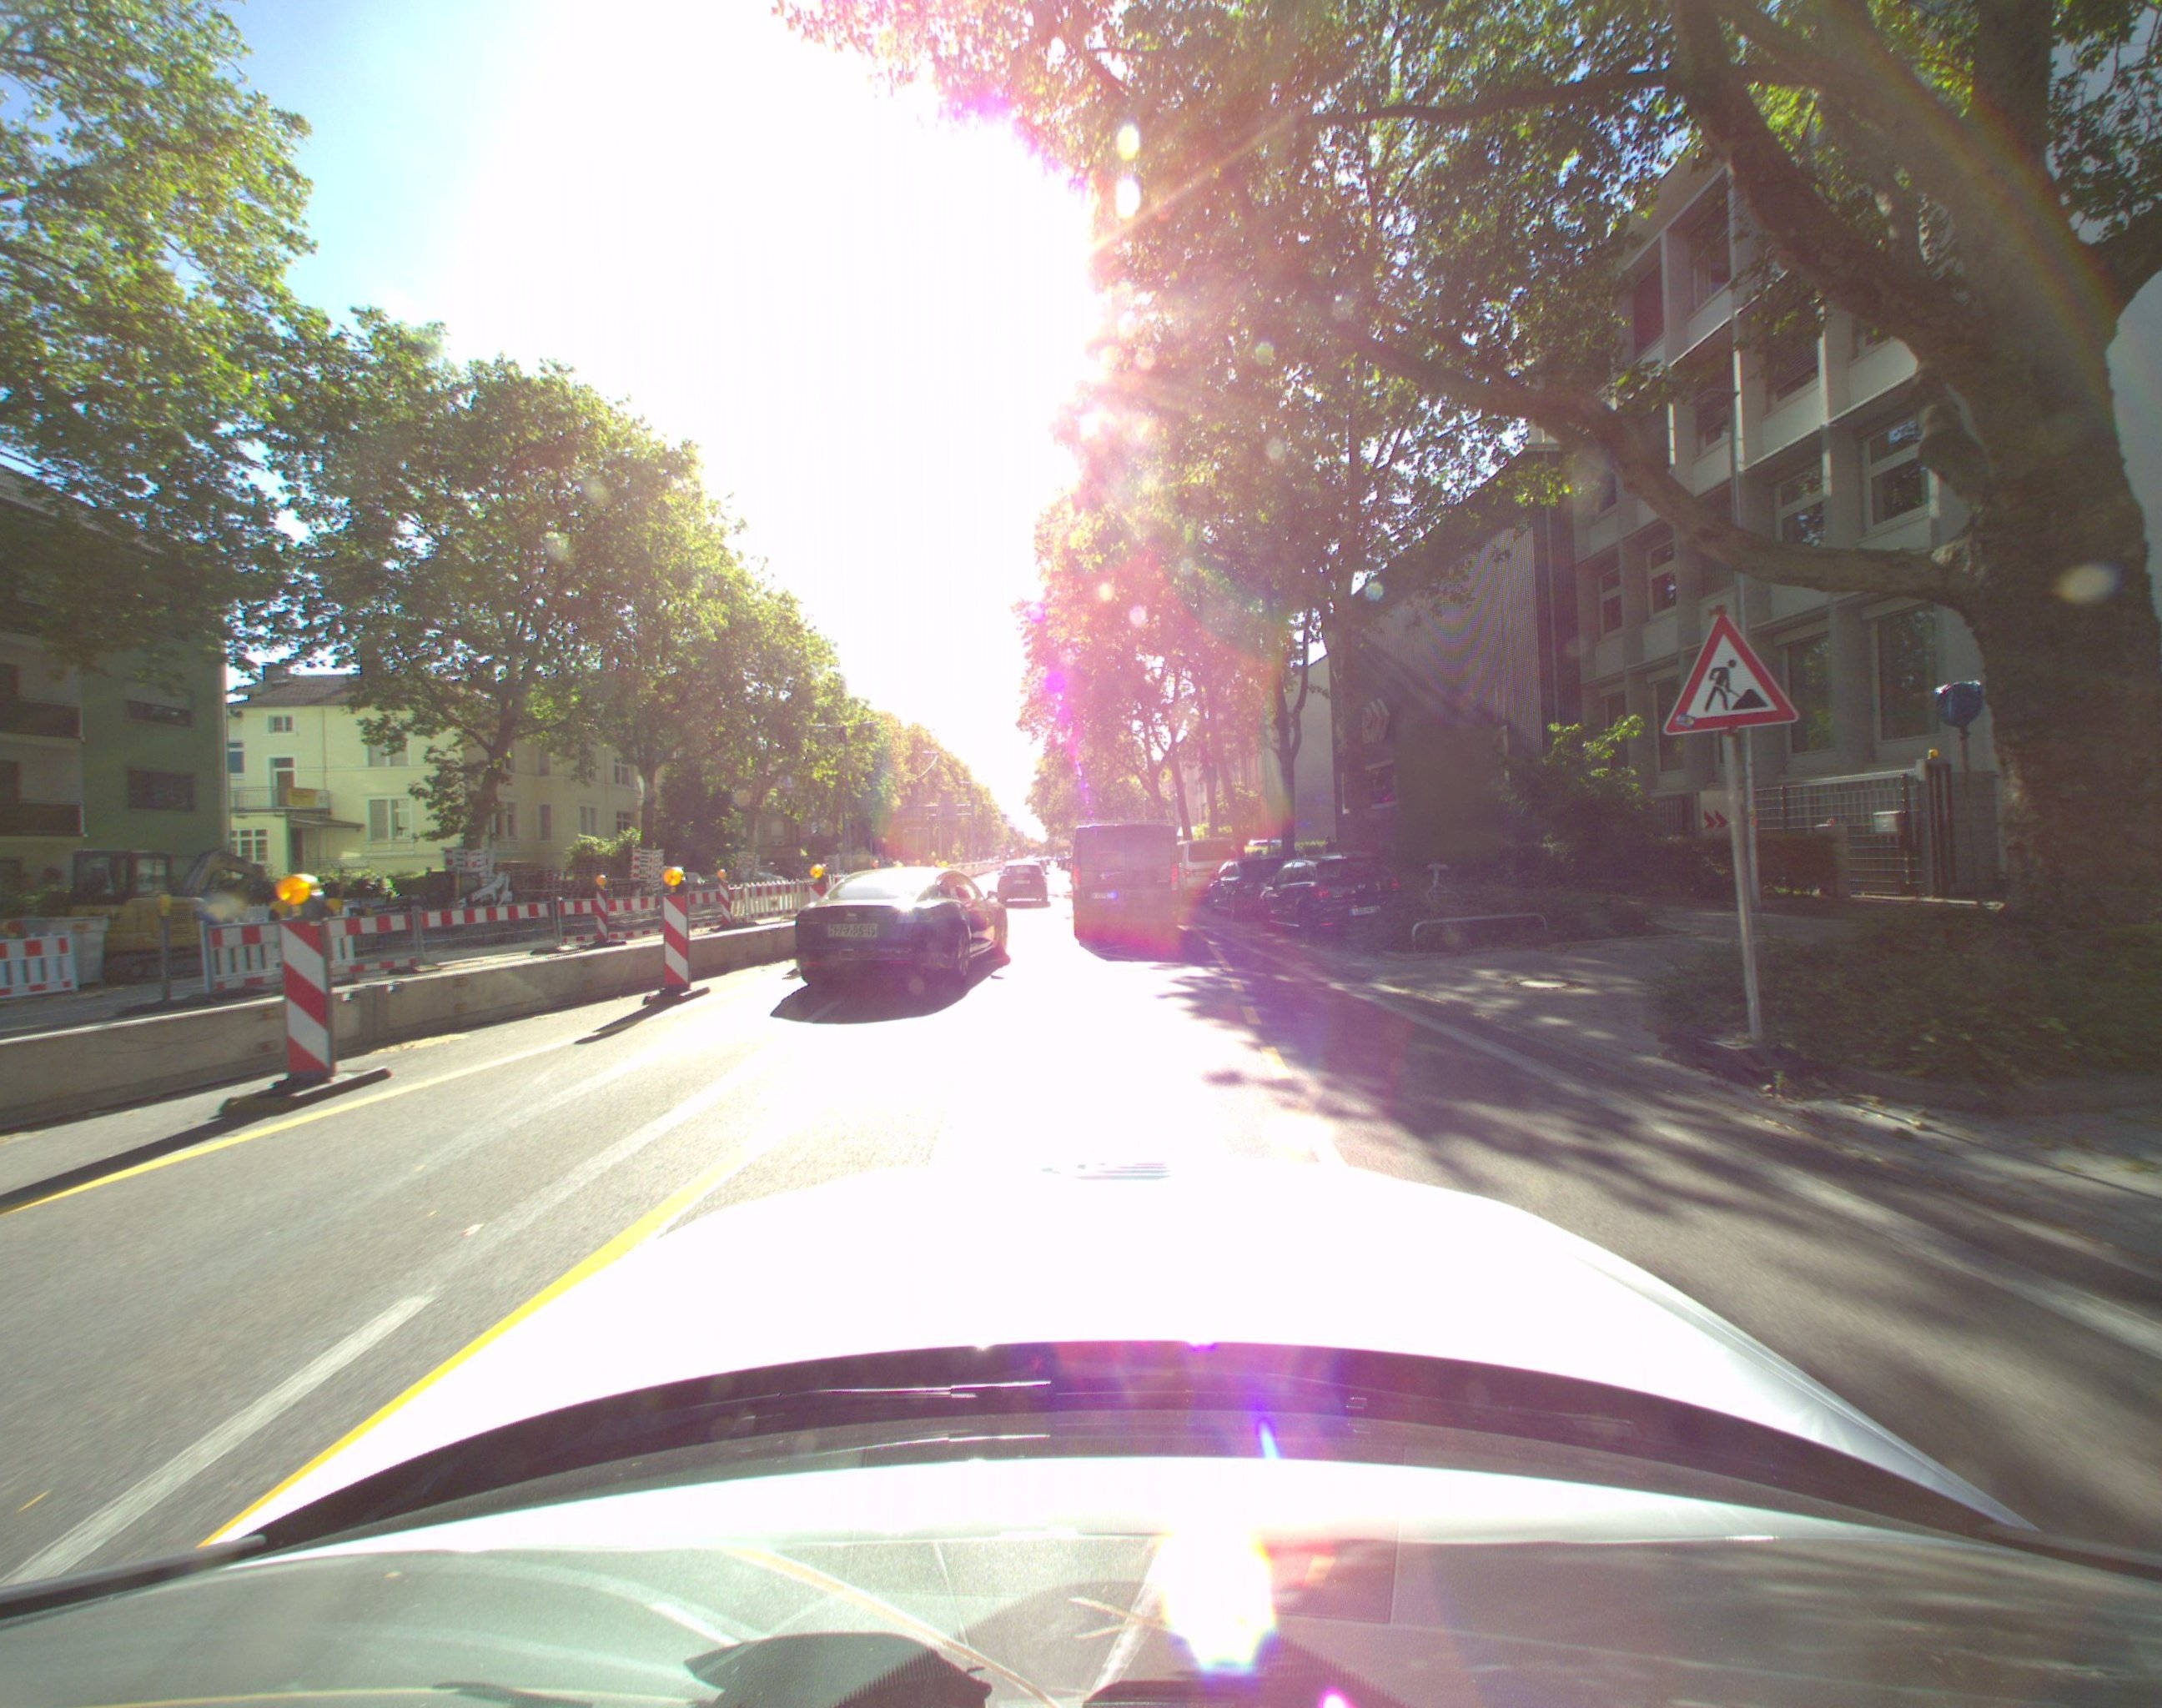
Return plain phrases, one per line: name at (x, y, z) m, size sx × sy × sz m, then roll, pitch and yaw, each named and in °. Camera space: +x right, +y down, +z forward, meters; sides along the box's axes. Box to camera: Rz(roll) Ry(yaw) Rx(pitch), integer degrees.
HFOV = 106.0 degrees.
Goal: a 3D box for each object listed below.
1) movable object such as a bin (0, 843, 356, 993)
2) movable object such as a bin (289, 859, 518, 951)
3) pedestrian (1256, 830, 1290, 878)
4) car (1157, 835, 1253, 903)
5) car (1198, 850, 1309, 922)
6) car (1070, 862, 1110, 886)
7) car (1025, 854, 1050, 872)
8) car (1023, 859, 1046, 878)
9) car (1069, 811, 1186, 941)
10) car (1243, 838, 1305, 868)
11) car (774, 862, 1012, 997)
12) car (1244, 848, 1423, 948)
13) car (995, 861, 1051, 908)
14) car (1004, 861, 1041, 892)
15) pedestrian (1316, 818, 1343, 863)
movable object such as a bin at (-19.155, 1.195, 17.809) m, size 2.143 × 2.706 × 5.344 m, roll -2°, pitch 0°, yaw -6°
movable object such as a bin at (-19.540, 1.345, 23.971) m, size 1.987 × 2.278 × 5.597 m, roll -3°, pitch 0°, yaw 0°
pedestrian at (6.671, 0.003, 28.352) m, size 0.727 × 1.602 × 1.265 m, roll -2°, pitch -1°, yaw -5°
car at (3.905, 0.463, 26.623) m, size 2.021 × 1.946 × 5.267 m, roll -2°, pitch 0°, yaw -3°
car at (4.094, 0.720, 19.938) m, size 1.653 × 1.540 × 4.124 m, roll -1°, pitch 0°, yaw -3°
car at (0.462, 1.144, 46.804) m, size 1.990 × 1.249 × 3.994 m, roll -2°, pitch 0°, yaw -4°
car at (-3.984, 0.847, 75.431) m, size 1.987 × 1.589 × 3.999 m, roll -2°, pitch -1°, yaw 0°
car at (-3.157, 0.985, 55.369) m, size 1.417 × 1.225 × 3.435 m, roll -2°, pitch -1°, yaw -1°
car at (0.850, 0.390, 16.900) m, size 2.089 × 2.355 × 3.932 m, roll -1°, pitch 0°, yaw 0°
car at (12.063, -0.045, 51.016) m, size 1.717 × 1.853 × 3.469 m, roll -1°, pitch 0°, yaw -36°
car at (-2.297, 0.870, 11.396) m, size 1.916 × 1.412 × 4.631 m, roll -2°, pitch 0°, yaw 4°
car at (4.408, 0.704, 14.963) m, size 1.759 × 1.508 × 4.246 m, roll -2°, pitch 0°, yaw -3°
car at (-1.989, 0.973, 27.863) m, size 1.743 × 1.407 × 3.994 m, roll -1°, pitch 0°, yaw -4°
car at (-2.823, 1.065, 40.155) m, size 1.543 × 1.425 × 3.554 m, roll -1°, pitch -1°, yaw 0°
pedestrian at (9.172, -0.498, 30.100) m, size 0.704 × 1.649 × 0.674 m, roll 0°, pitch 2°, yaw -6°
